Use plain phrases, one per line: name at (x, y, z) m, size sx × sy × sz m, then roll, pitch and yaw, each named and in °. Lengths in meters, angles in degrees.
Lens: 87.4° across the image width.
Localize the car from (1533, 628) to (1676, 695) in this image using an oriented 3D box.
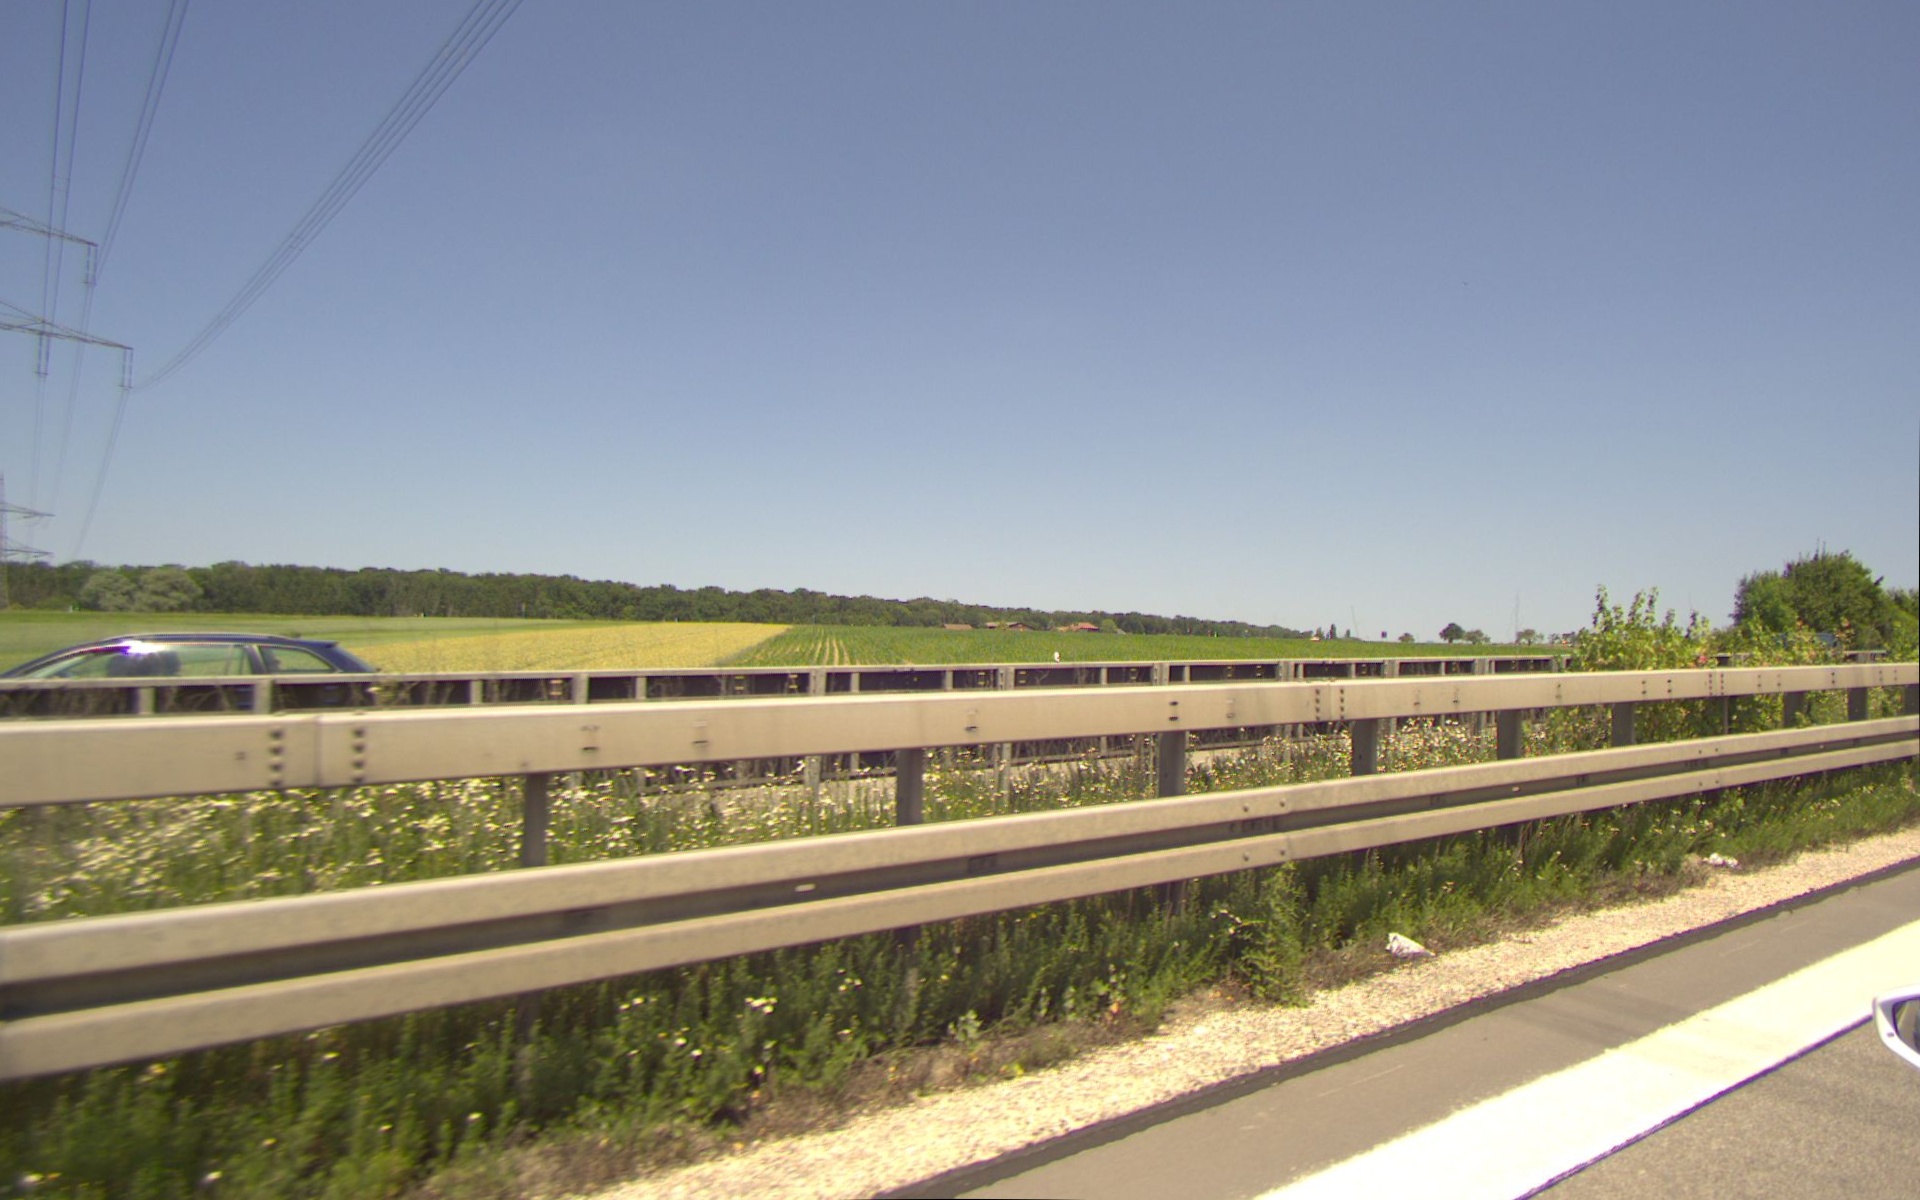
car at (18.527, 1.742, 28.849) m, size 3.953 × 1.715 × 1.814 m, roll 2°, pitch 0°, yaw -30°

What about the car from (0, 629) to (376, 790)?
car at (-8.317, 1.046, 10.319) m, size 3.956 × 1.452 × 1.714 m, roll 1°, pitch -3°, yaw -32°
